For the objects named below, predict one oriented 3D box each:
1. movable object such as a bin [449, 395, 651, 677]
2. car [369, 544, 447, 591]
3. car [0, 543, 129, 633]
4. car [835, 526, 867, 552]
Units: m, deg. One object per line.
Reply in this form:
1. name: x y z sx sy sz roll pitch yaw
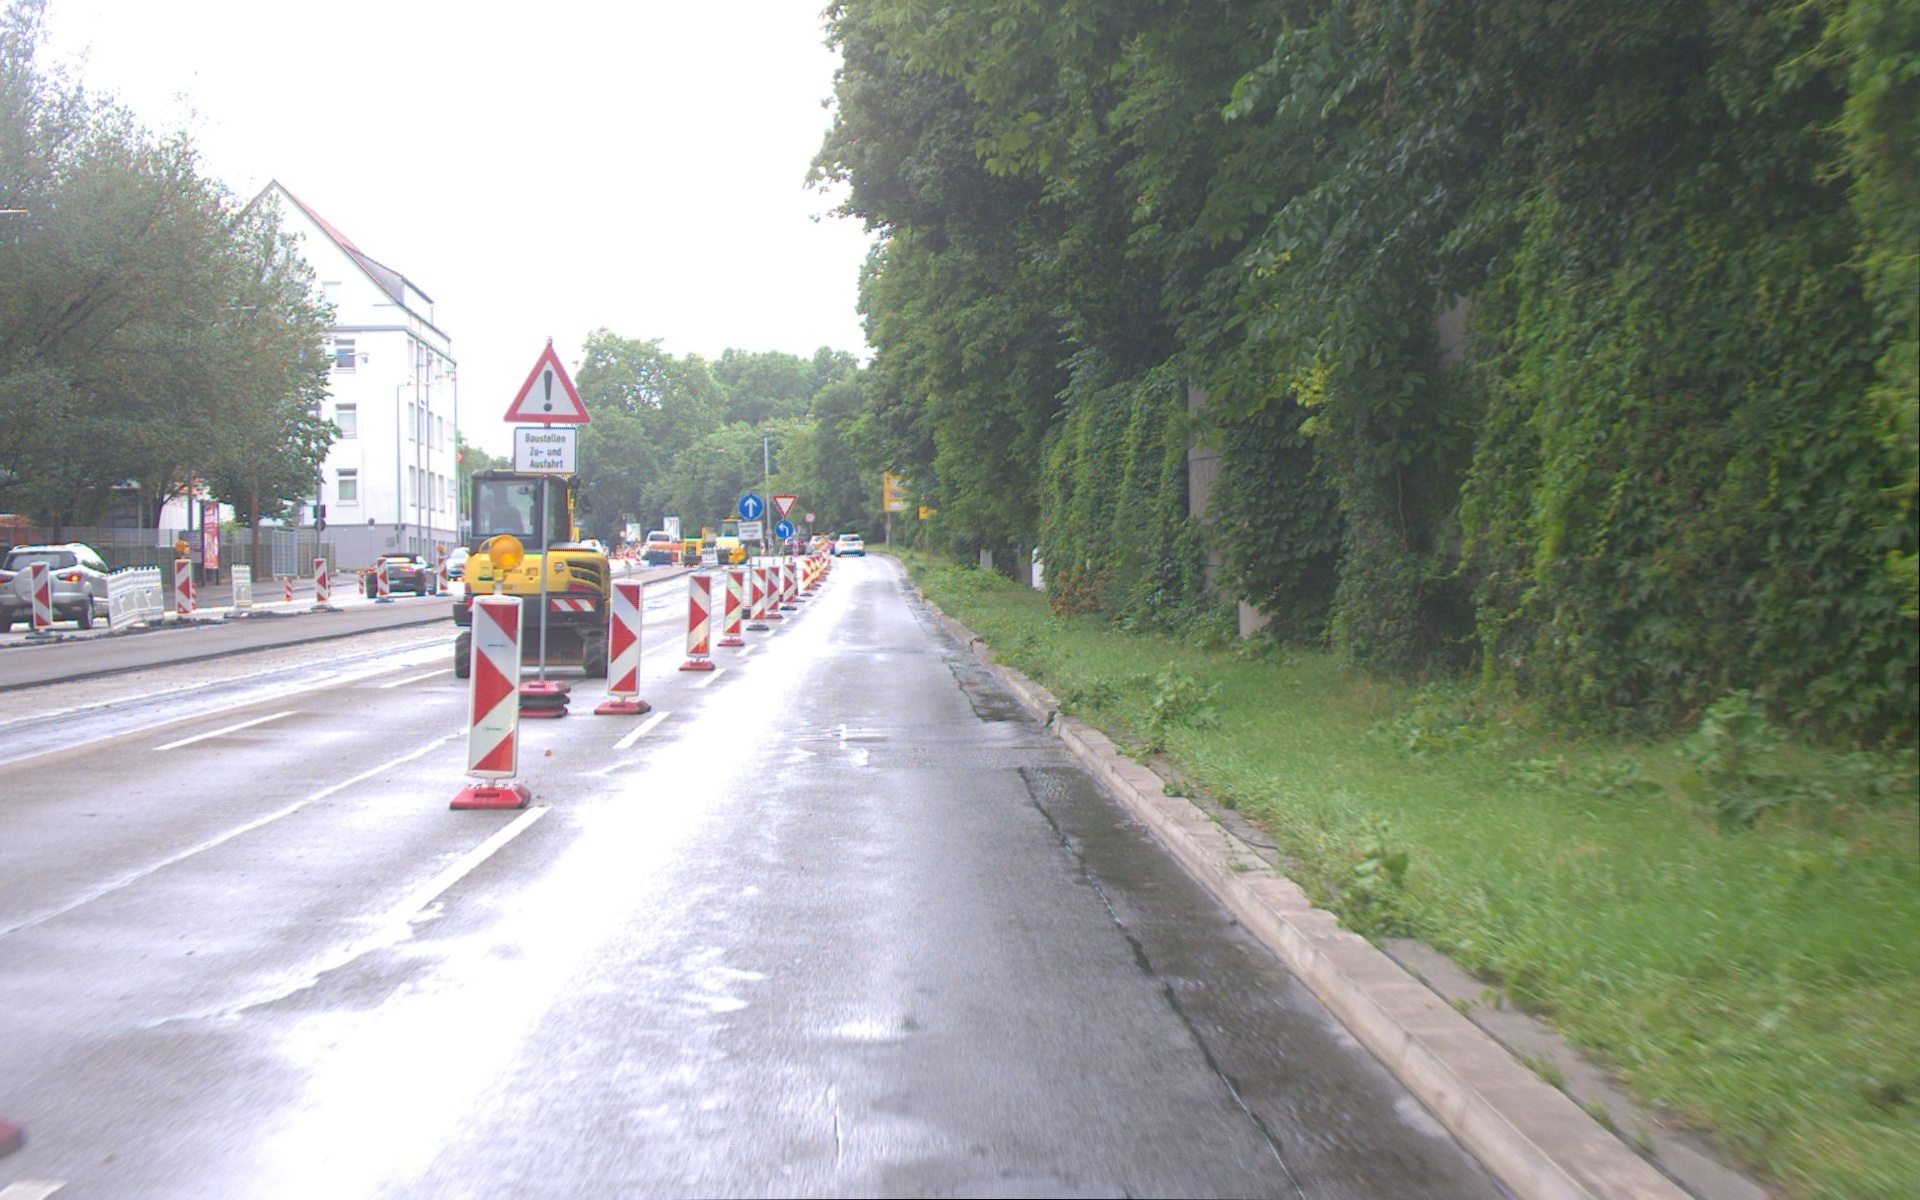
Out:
1. movable object such as a bin: -5.169 -0.801 44.105 1.993 3.356 5.983 0 1 -1
2. car: -17.884 -1.061 111.576 1.993 1.514 4.000 0 1 -2
3. car: -17.149 -0.248 65.281 1.854 1.642 4.000 0 1 -1
4. car: -7.074 -3.934 222.968 1.993 1.667 4.000 0 1 -1
